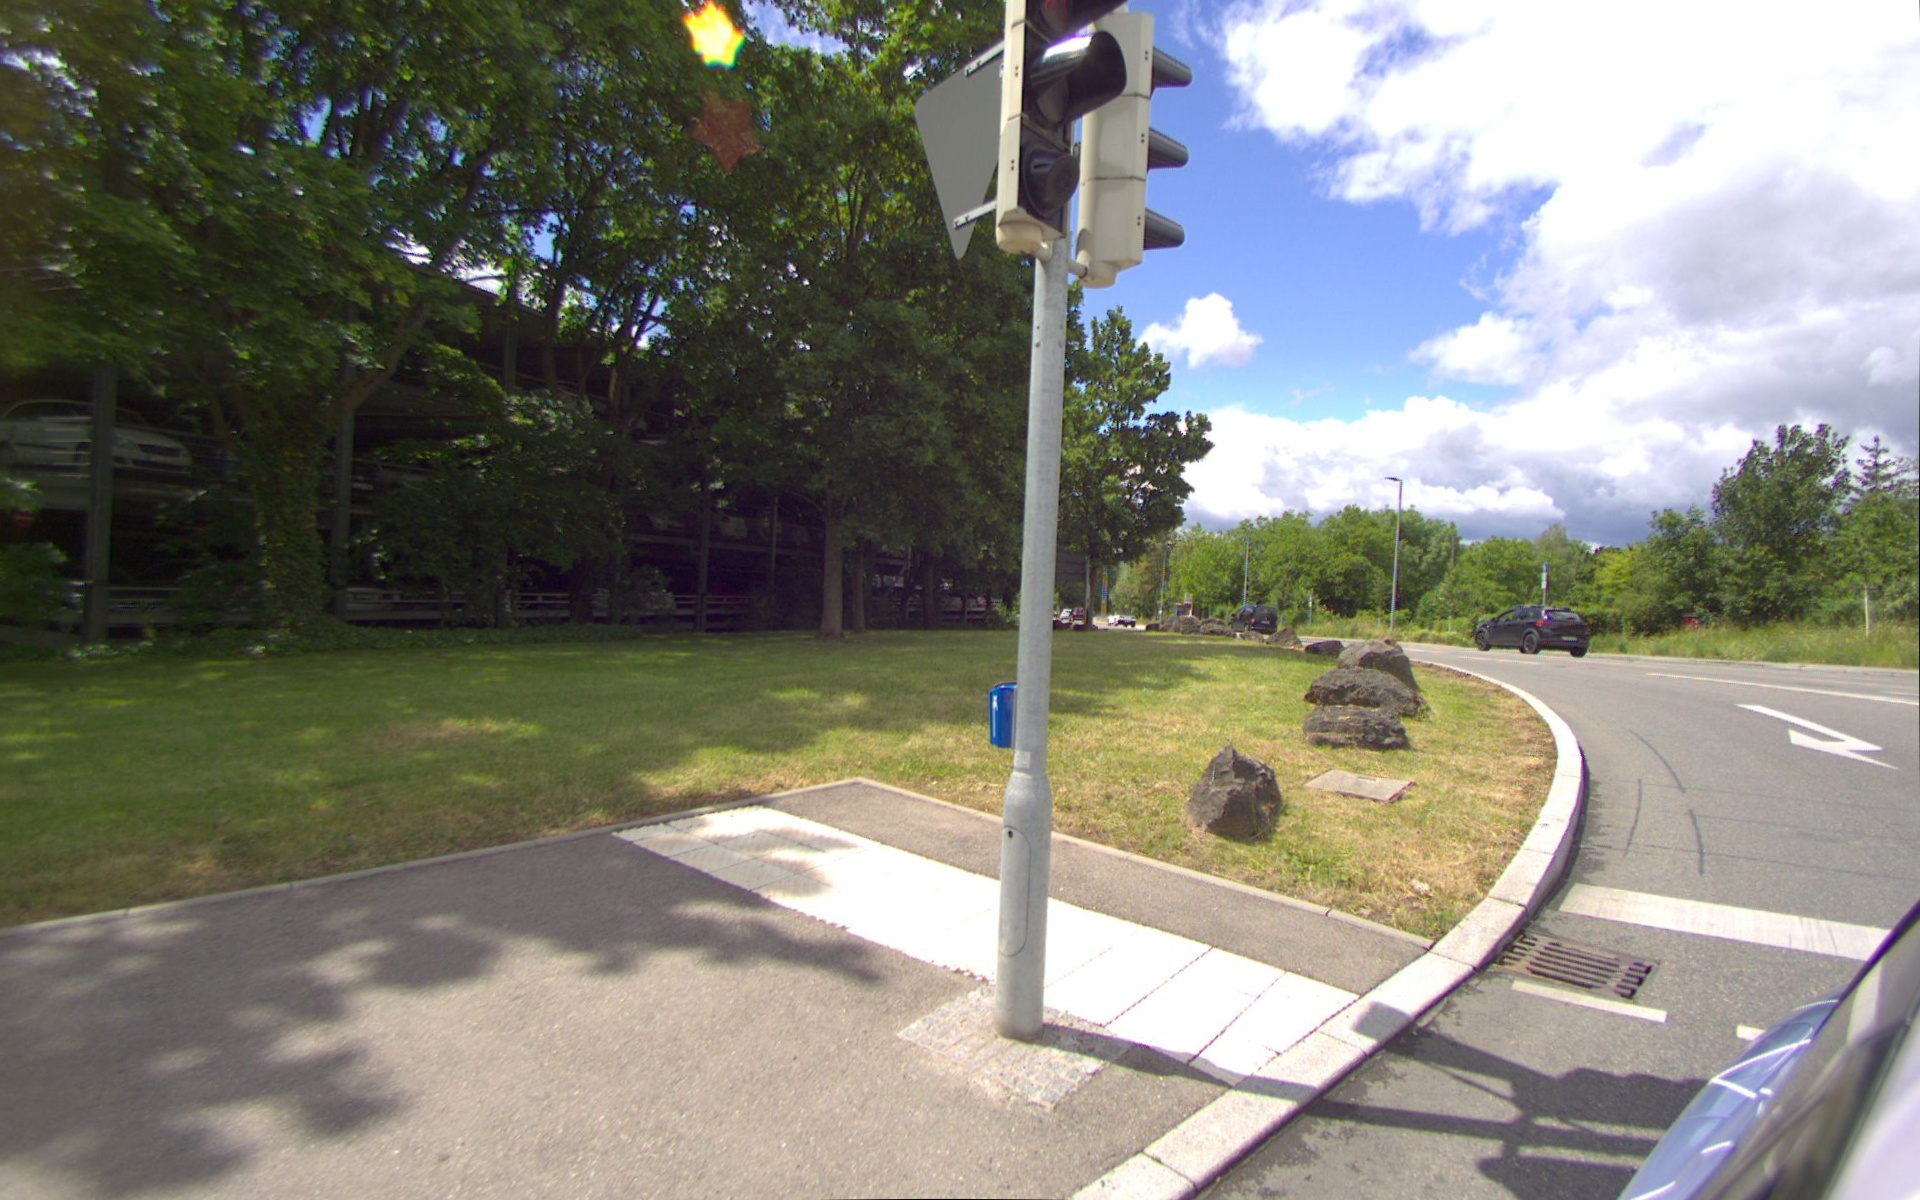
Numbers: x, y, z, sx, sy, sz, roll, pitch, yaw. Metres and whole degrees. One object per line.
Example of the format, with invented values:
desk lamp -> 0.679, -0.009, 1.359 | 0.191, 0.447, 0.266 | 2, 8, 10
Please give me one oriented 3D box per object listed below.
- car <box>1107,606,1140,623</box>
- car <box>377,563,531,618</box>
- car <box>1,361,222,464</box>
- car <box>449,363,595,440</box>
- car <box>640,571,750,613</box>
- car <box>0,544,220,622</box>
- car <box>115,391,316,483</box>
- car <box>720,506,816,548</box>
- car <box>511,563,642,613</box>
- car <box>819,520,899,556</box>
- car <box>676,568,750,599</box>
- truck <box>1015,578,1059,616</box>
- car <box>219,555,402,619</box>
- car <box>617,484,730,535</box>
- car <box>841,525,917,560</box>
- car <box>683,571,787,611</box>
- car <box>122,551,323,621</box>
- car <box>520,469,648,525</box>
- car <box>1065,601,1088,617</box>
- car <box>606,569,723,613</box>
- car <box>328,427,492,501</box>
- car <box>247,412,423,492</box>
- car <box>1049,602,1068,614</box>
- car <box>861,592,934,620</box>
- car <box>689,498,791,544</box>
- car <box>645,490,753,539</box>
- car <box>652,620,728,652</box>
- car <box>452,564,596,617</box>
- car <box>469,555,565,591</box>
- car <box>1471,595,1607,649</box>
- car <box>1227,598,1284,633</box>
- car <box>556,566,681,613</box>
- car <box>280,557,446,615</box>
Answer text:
car -> 14.625, 1.269, 90.667 | 1.873, 1.307, 4.612 | 4, 0, -3
car -> -14.043, -0.266, 28.113 | 3.753, 1.308, 1.764 | 3, 0, 21
car -> -16.485, -3.573, 19.681 | 3.661, 1.561, 1.714 | 3, -2, 22
car -> -13.132, -5.900, 30.369 | 3.955, 1.683, 1.854 | 0, 0, 23
car -> -10.196, -0.312, 38.943 | 3.754, 1.410, 1.764 | 3, 0, 22
car -> -16.738, -0.336, 19.908 | 3.753, 1.308, 1.764 | 3, 0, 21
car -> -15.847, -3.408, 21.564 | 3.661, 1.561, 1.714 | 3, -2, 22
car -> -8.242, -3.134, 43.440 | 3.661, 1.561, 1.714 | 3, -2, 22
car -> -12.445, -0.392, 32.860 | 3.753, 1.410, 1.764 | 3, 0, 21
car -> -5.140, -3.137, 51.597 | 3.661, 1.583, 1.646 | 3, -2, 22
car -> -14.303, -0.963, 58.630 | 3.812, 1.504, 1.683 | 4, 1, 21
truck -> 8.722, -0.395, 116.067 | 3.179, 3.908, 9.884 | 4, 1, -5
car -> -15.390, -0.301, 24.014 | 3.753, 1.308, 1.764 | 3, 0, 21
car -> -10.478, -3.311, 37.048 | 3.661, 1.640, 1.714 | 3, -2, 22
car -> -4.345, -3.059, 54.173 | 3.661, 1.640, 1.646 | 3, -2, 22
car -> -9.202, -0.360, 41.411 | 3.811, 1.410, 1.764 | 3, 0, 21
car -> -16.032, -0.306, 22.016 | 3.753, 1.308, 1.764 | 3, 0, 21
car -> -12.283, -3.366, 33.046 | 3.661, 1.561, 1.714 | 3, -2, 22
car -> 13.380, 1.044, 116.494 | 1.791, 1.675, 4.535 | 4, 0, -3
car -> -10.700, -0.321, 36.716 | 3.753, 1.410, 1.764 | 3, 0, 21
car -> -14.174, -3.471, 26.116 | 3.661, 1.561, 1.714 | 3, -2, 22
car -> -15.043, -3.519, 24.366 | 3.661, 1.561, 1.714 | 3, -2, 22
car -> 12.941, 1.007, 132.788 | 1.737, 1.460, 3.903 | 4, 0, -5
car -> -3.593, 0.325, 58.185 | 3.811, 1.410, 1.683 | 3, 0, 21
car -> -8.991, -3.228, 41.390 | 3.661, 1.640, 1.714 | 3, -2, 22
car -> -10.033, -3.281, 38.977 | 3.661, 1.640, 1.714 | 3, -2, 22
car -> -15.064, 1.986, 56.429 | 3.812, 1.465, 1.683 | 4, 1, 21
car -> -13.026, -0.283, 30.264 | 3.753, 1.410, 1.764 | 3, 0, 21
car -> -19.773, -1.185, 45.148 | 3.753, 1.410, 1.764 | 3, 0, 21
car -> 18.641, 0.669, 32.821 | 1.755, 1.598, 4.167 | 2, 0, -4
car -> 17.295, 0.949, 59.388 | 1.756, 1.802, 4.810 | 2, -3, -2
car -> -11.636, -0.368, 34.534 | 3.753, 1.410, 1.764 | 3, 0, 21
car -> -15.542, -0.365, 26.352 | 3.753, 1.308, 1.764 | 3, 0, 21
